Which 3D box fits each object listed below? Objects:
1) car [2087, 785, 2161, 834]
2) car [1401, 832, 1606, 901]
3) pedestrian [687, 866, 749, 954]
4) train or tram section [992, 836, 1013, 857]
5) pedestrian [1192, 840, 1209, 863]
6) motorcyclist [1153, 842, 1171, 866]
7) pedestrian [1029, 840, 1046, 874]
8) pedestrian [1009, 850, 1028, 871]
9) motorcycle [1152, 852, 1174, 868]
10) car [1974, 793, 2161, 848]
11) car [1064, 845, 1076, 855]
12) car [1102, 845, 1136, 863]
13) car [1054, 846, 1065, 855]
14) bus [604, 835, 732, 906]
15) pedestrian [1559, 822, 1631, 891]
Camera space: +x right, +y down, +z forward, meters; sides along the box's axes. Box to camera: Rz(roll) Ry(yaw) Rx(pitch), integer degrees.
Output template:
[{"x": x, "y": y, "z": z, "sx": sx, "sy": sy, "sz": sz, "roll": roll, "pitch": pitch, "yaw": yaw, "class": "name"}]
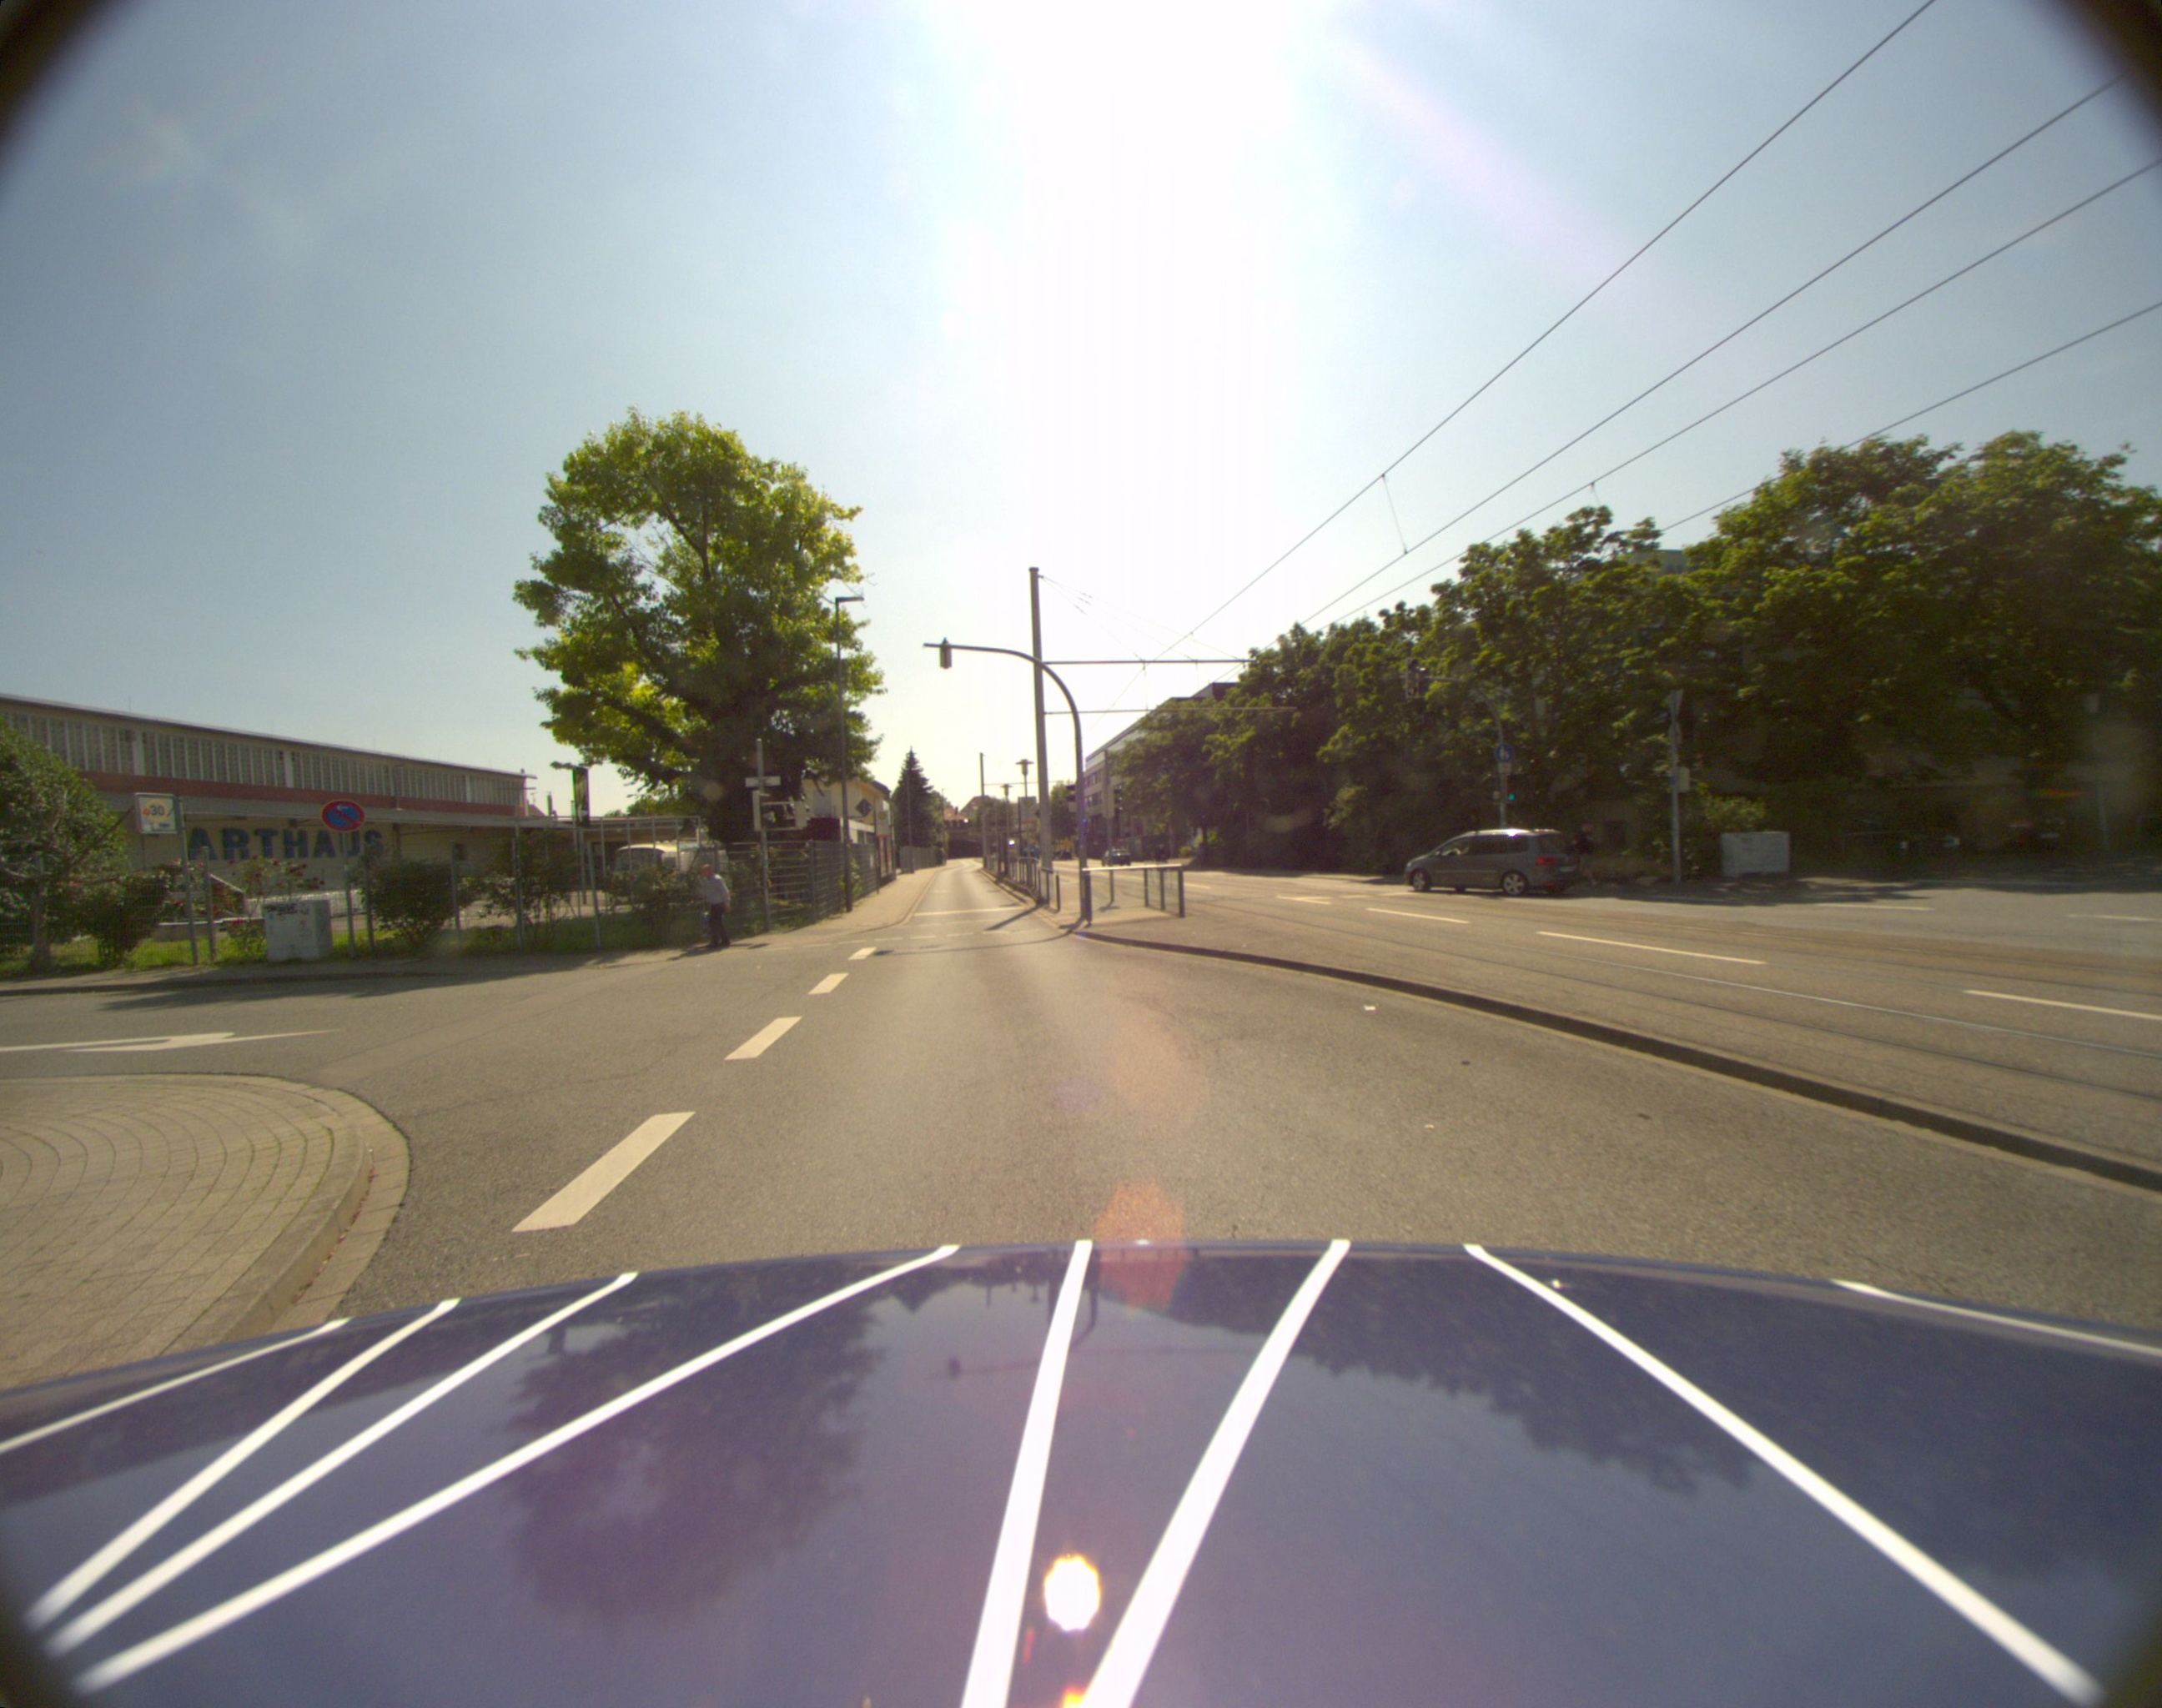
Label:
[{"x": 36.929, "y": -1.528, "z": 25.265, "sx": 1.626, "sy": 1.629, "sz": 3.861, "roll": -3, "pitch": 2, "yaw": -15, "class": "car"}, {"x": 10.707, "y": 0.223, "z": 19.586, "sx": 1.936, "sy": 1.574, "sz": 4.181, "roll": -1, "pitch": 2, "yaw": -30, "class": "car"}, {"x": -7.334, "y": 1.099, "z": 15.345, "sx": 0.889, "sy": 1.689, "sz": 0.813, "roll": -2, "pitch": 1, "yaw": -41, "class": "pedestrian"}, {"x": -13.983, "y": -1.313, "z": 134.434, "sx": 2.682, "sy": 3.464, "sz": 12.316, "roll": -2, "pitch": 1, "yaw": -10, "class": "train or tram section"}, {"x": 8.014, "y": -0.184, "z": 51.057, "sx": 0.873, "sy": 1.518, "sz": 0.845, "roll": -2, "pitch": 1, "yaw": -10, "class": "pedestrian"}, {"x": 5.164, "y": 0.011, "z": 48.375, "sx": 0.838, "sy": 1.467, "sz": 0.962, "roll": -3, "pitch": 1, "yaw": -11, "class": "motorcyclist"}, {"x": -2.298, "y": 0.151, "z": 40.259, "sx": 0.726, "sy": 1.715, "sz": 0.944, "roll": -3, "pitch": 1, "yaw": -9, "class": "pedestrian"}, {"x": -3.456, "y": 0.346, "z": 42.081, "sx": 0.946, "sy": 1.093, "sz": 0.725, "roll": 1, "pitch": 2, "yaw": -10, "class": "pedestrian"}, {"x": 5.206, "y": 0.364, "z": 48.259, "sx": 0.825, "sy": 1.005, "sz": 1.962, "roll": -3, "pitch": 1, "yaw": -10, "class": "motorcycle"}, {"x": 29.812, "y": -0.964, "z": 22.695, "sx": 1.628, "sy": 1.458, "sz": 3.857, "roll": -3, "pitch": 1, "yaw": -33, "class": "car"}, {"x": -1.913, "y": -0.626, "z": 129.993, "sx": 1.999, "sy": 1.613, "sz": 3.999, "roll": -1, "pitch": 1, "yaw": -2, "class": "car"}, {"x": 3.059, "y": 0.002, "z": 62.392, "sx": 1.913, "sy": 1.434, "sz": 4.591, "roll": -1, "pitch": 0, "yaw": -9, "class": "car"}, {"x": -3.838, "y": -0.583, "z": 137.288, "sx": 1.872, "sy": 1.608, "sz": 3.999, "roll": -1, "pitch": 1, "yaw": -2, "class": "car"}, {"x": -22.027, "y": 0.661, "z": 41.351, "sx": 2.574, "sy": 3.154, "sz": 10.256, "roll": -2, "pitch": 3, "yaw": -8, "class": "bus"}, {"x": 13.321, "y": 0.049, "z": 19.715, "sx": 0.889, "sy": 1.661, "sz": 1.159, "roll": -6, "pitch": 2, "yaw": -10, "class": "pedestrian"}]
